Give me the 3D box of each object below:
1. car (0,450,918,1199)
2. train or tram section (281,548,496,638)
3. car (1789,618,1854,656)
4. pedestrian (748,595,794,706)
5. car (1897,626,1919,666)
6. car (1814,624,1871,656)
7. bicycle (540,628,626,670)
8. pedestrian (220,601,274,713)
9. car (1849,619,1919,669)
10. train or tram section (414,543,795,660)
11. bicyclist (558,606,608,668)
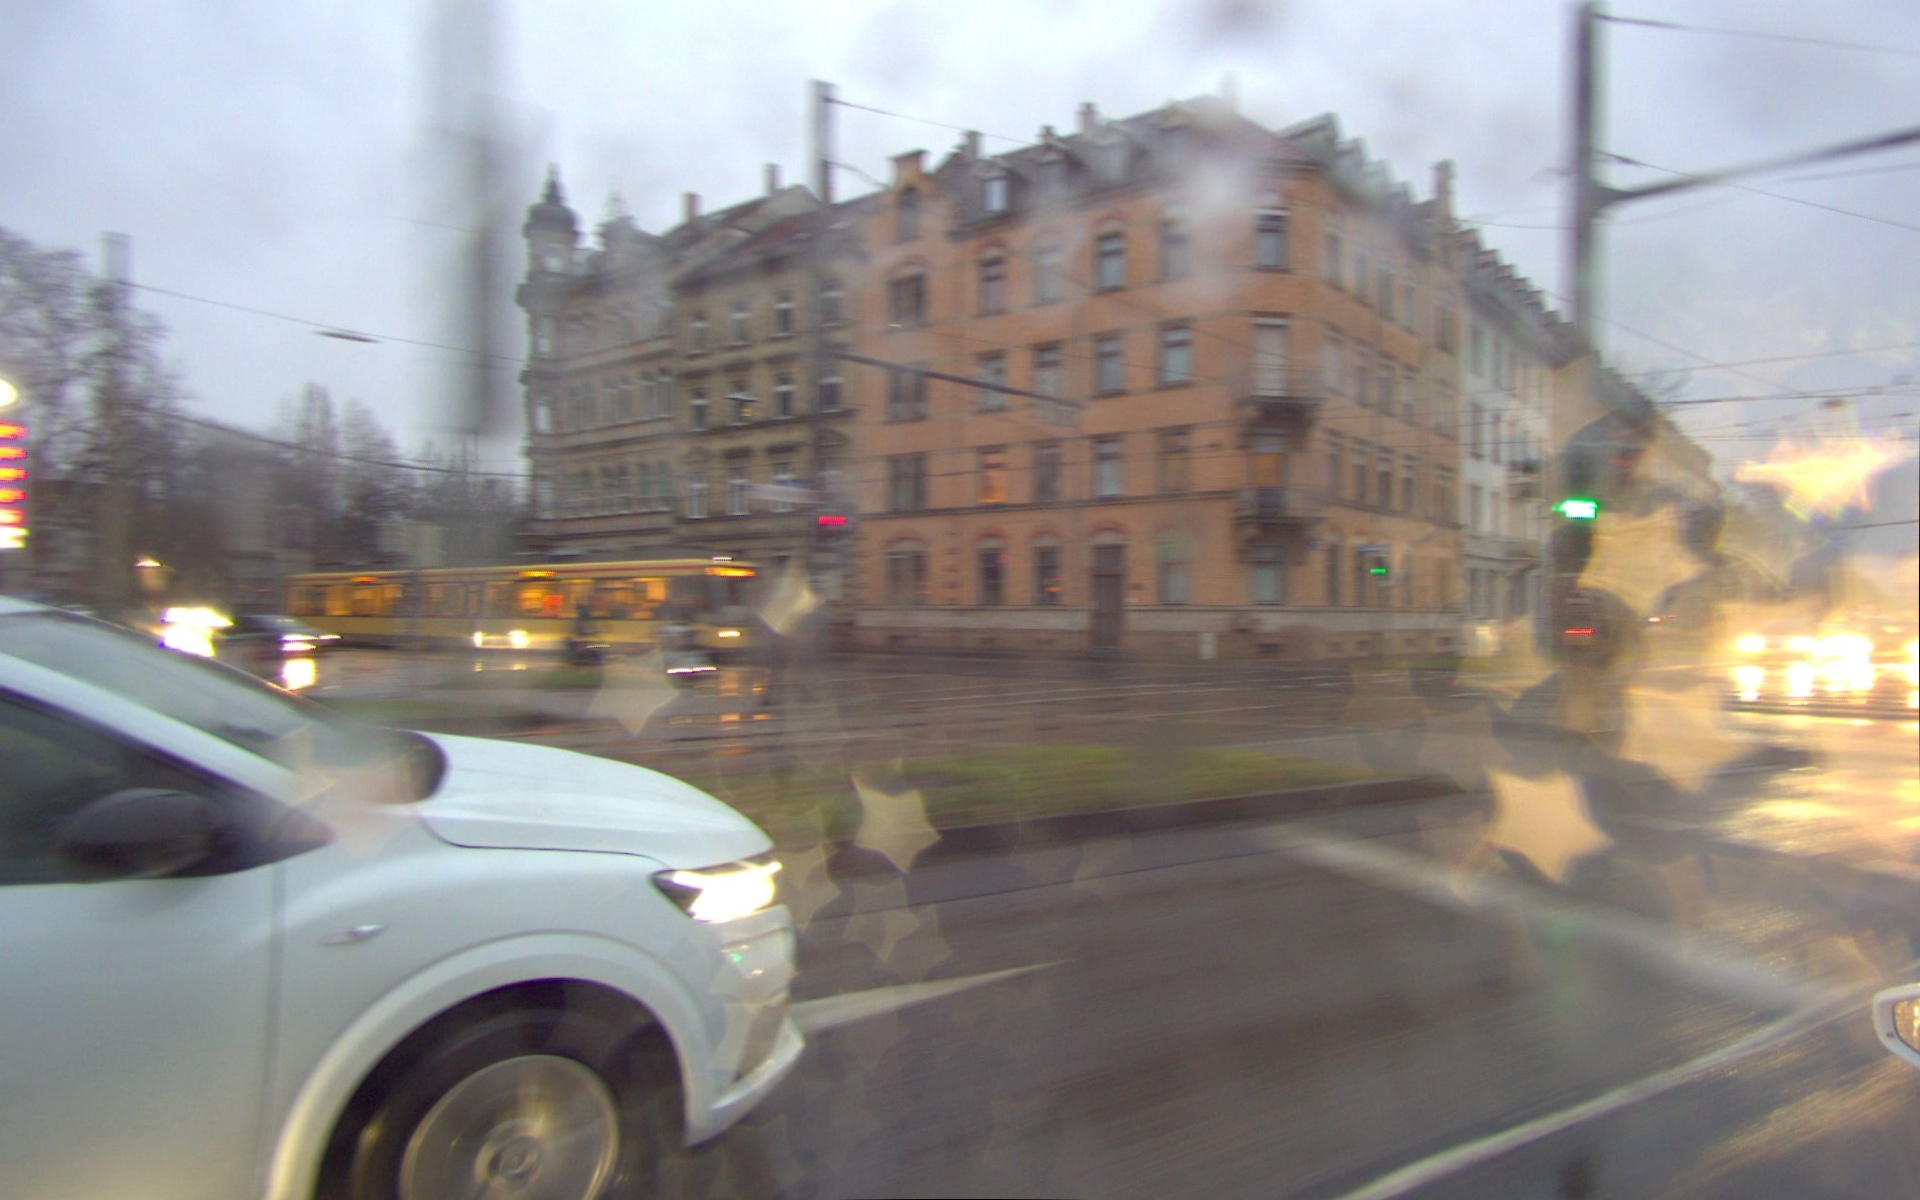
[{"bbox_3d":[-2.201,0.518,2.188,3.955,1.507,1.618,0,-1,-32],"label":"car"},{"bbox_3d":[-23.640,-0.347,41.222,10.963,3.280,3.160,1,0,34],"label":"train or tram section"},{"bbox_3d":[34.128,1.424,39.747,3.590,1.410,1.663,1,-1,-44],"label":"car"},{"bbox_3d":[-3.109,0.817,16.508,0.620,1.795,0.465,1,0,-26],"label":"pedestrian"},{"bbox_3d":[37.961,1.793,39.435,1.662,1.477,4.310,0,-1,43],"label":"car"},{"bbox_3d":[40.314,1.783,45.851,4.358,1.372,1.663,1,-1,-44],"label":"car"},{"bbox_3d":[-8.706,1.125,23.184,1.945,0.912,0.506,1,0,15],"label":"bicycle"},{"bbox_3d":[-11.853,0.931,16.695,0.617,1.816,0.531,1,1,30],"label":"pedestrian"},{"bbox_3d":[29.269,1.338,31.486,4.032,1.477,1.665,1,-1,-42],"label":"car"},{"bbox_3d":[-12.499,-0.098,33.614,16.034,3.231,3.160,1,0,34],"label":"train or tram section"},{"bbox_3d":[-8.699,0.842,23.181,0.949,1.409,0.506,1,0,15],"label":"bicyclist"}]
